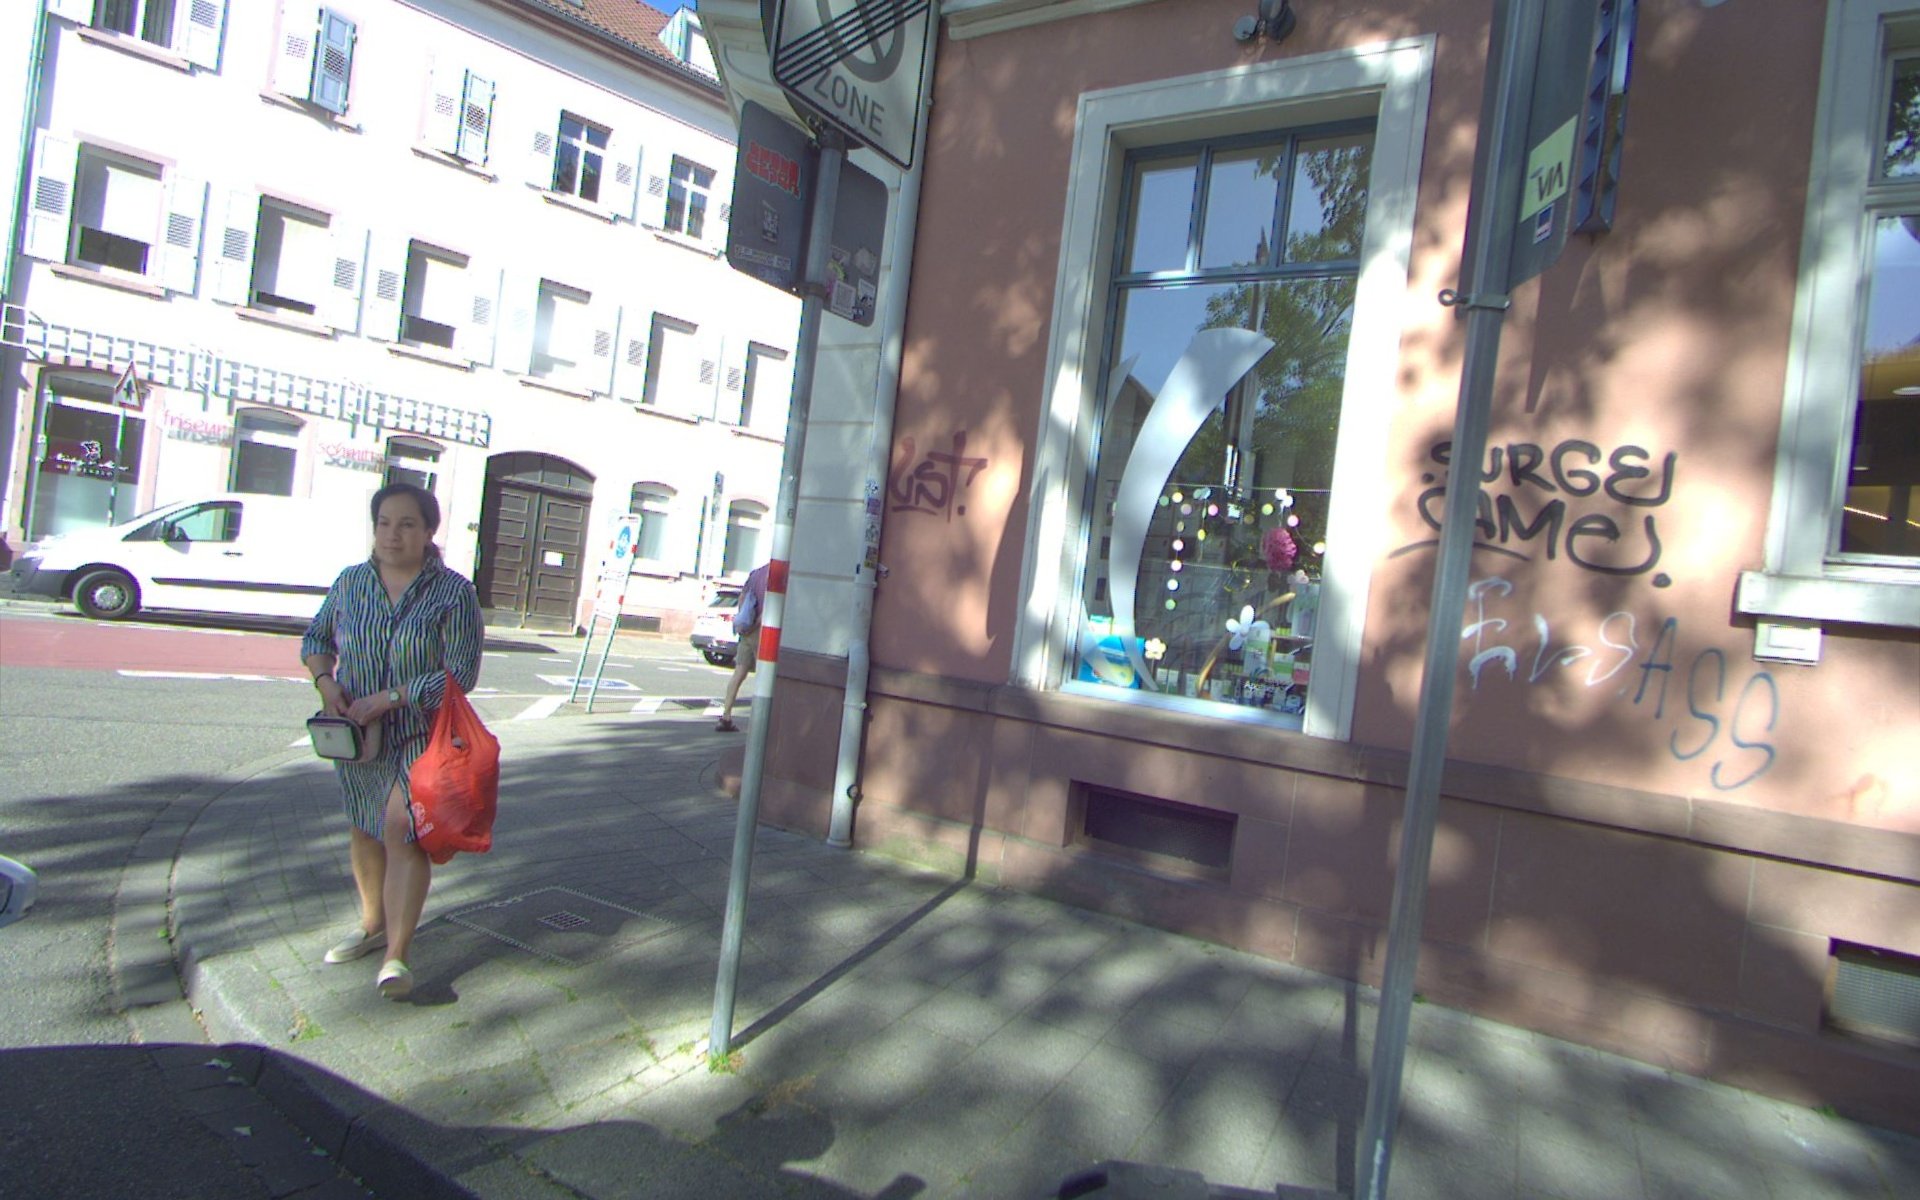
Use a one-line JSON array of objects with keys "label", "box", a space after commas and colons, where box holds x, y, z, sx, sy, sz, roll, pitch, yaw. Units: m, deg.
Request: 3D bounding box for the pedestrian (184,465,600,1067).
[{"label": "pedestrian", "box": [-1.799, 0.419, 3.217, 0.832, 1.596, 0.843, 6, 5, 31]}]

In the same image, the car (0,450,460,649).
[{"label": "car", "box": [-10.121, -0.587, 14.338, 4.982, 1.969, 2.031, 8, -1, -36]}]

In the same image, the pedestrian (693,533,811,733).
[{"label": "pedestrian", "box": [-1.967, 0.302, 9.537, 0.819, 1.787, 0.748, 0, 0, 37]}]

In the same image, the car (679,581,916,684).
[{"label": "car", "box": [-3.183, 0.692, 20.220, 4.347, 1.559, 1.630, 8, -2, -38]}]

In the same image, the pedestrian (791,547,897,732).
[{"label": "pedestrian", "box": [-1.109, 0.361, 9.669, 0.616, 1.689, 0.835, 1, 1, 31]}]
